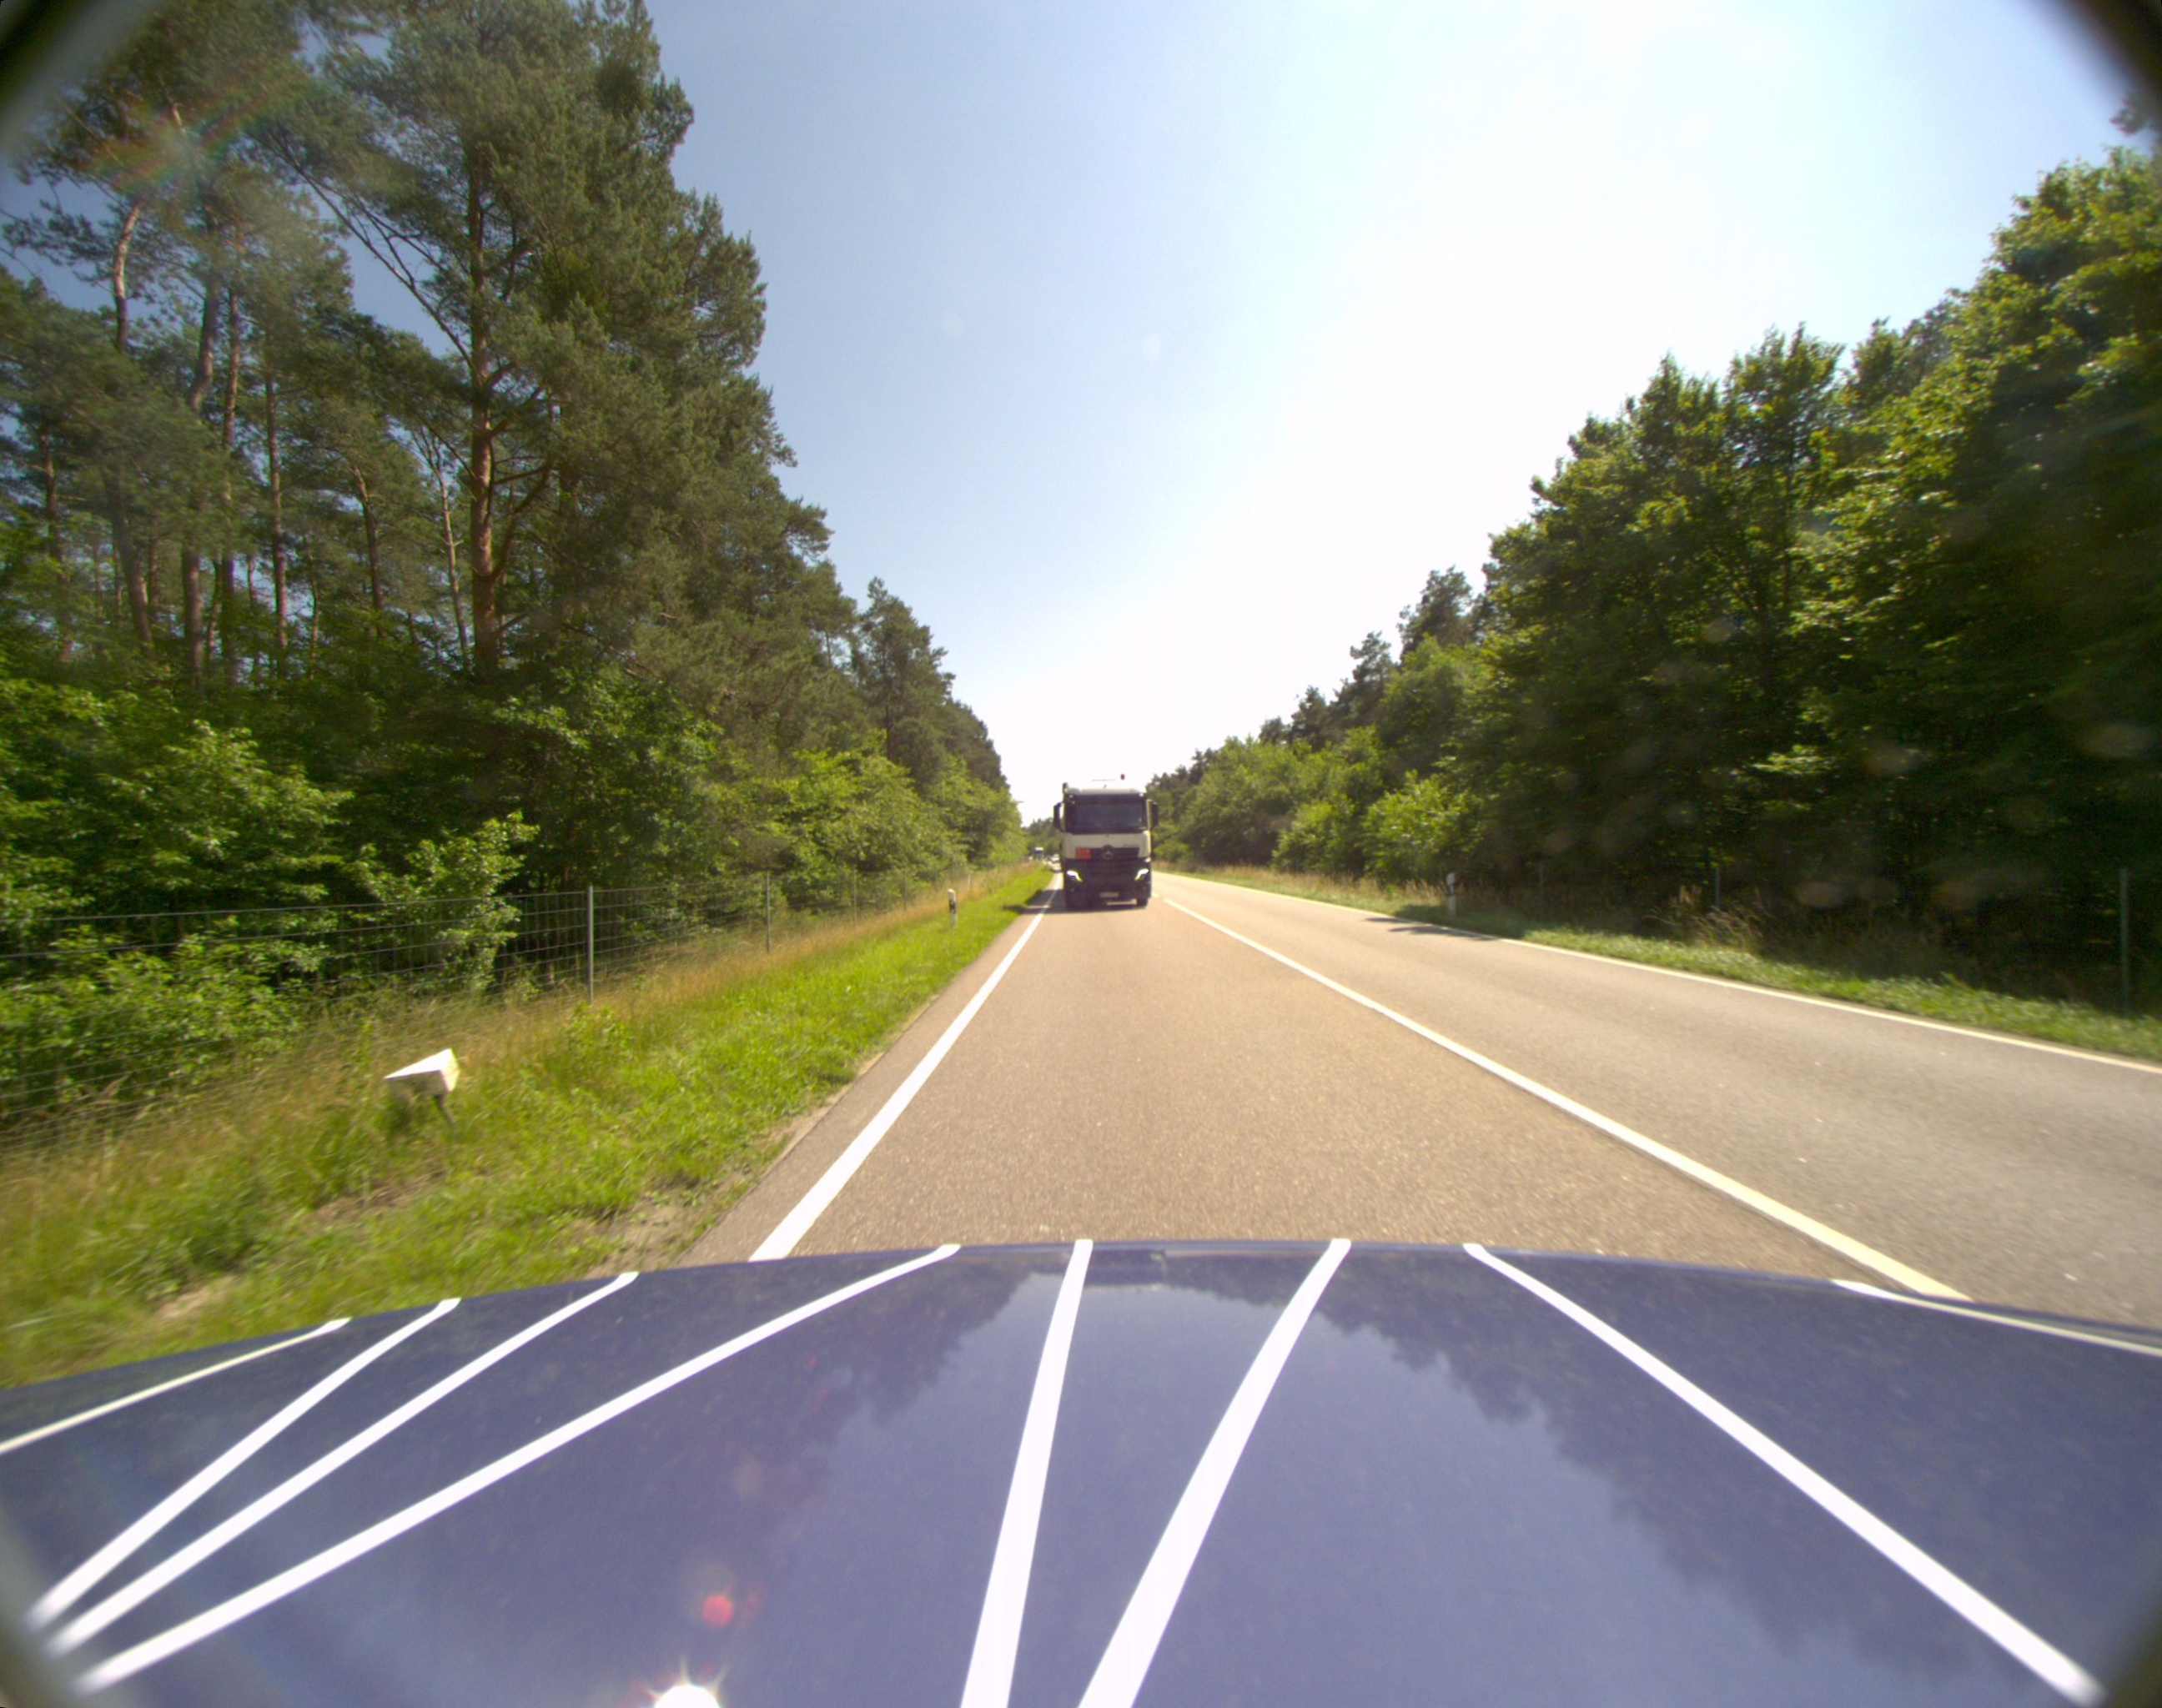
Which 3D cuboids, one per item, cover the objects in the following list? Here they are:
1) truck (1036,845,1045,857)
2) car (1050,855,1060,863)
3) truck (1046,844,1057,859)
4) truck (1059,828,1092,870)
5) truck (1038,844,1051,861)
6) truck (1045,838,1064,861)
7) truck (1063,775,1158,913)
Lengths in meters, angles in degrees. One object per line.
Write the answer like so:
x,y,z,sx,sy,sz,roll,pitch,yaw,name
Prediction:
-12.427,-0.893,233.861,2.495,3.618,6.099,1,0,-7,truck
-4.723,0.881,137.428,1.885,1.461,3.999,1,0,-2,car
-7.382,-0.700,190.719,2.495,3.619,6.100,-1,0,-5,truck
-0.573,-0.470,70.931,2.495,3.698,6.222,1,0,-5,truck
-8.051,-0.372,166.374,2.495,3.619,6.100,-1,0,-5,truck
-4.105,-0.663,116.052,2.495,3.316,6.222,1,0,-5,truck
0.739,-0.274,24.022,2.435,3.672,6.456,-2,0,-1,truck
